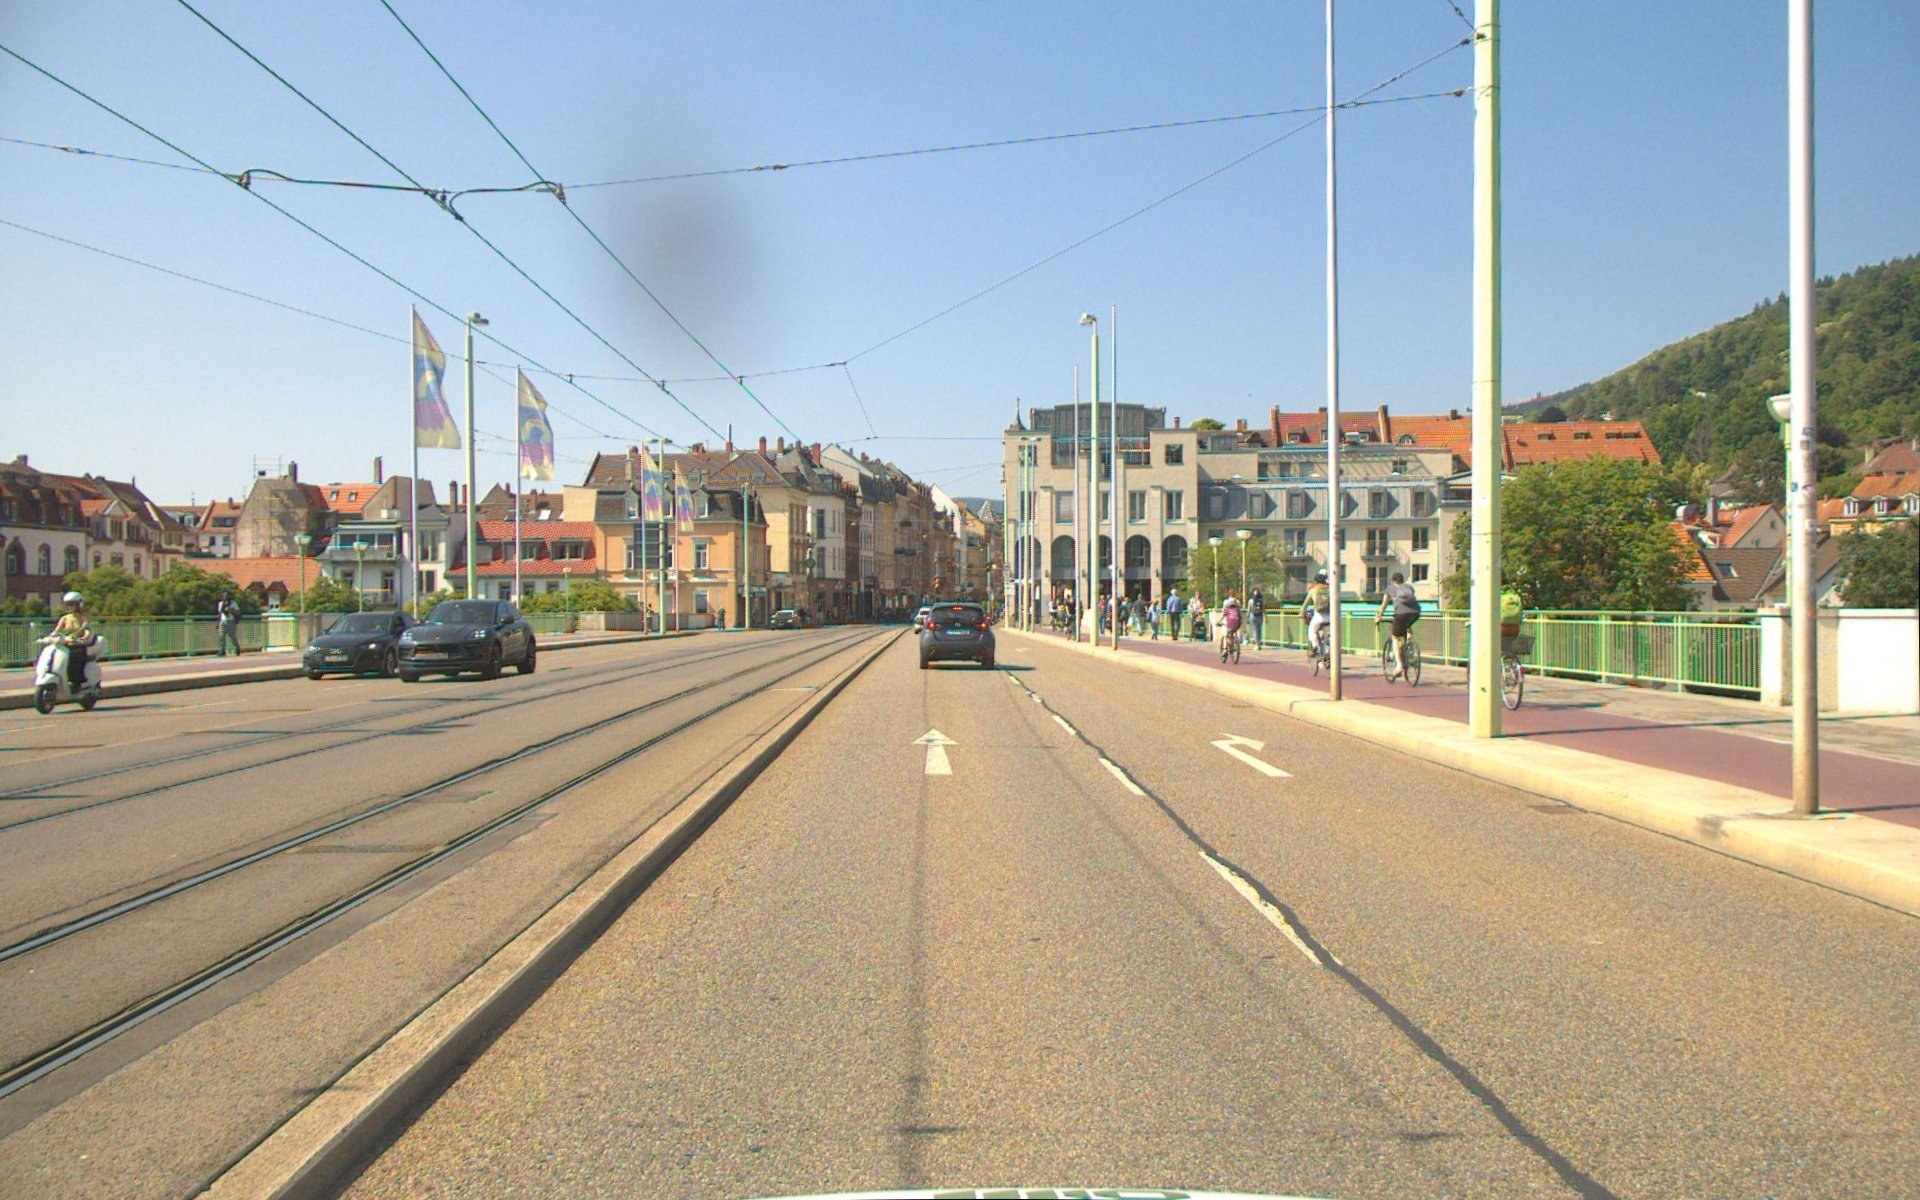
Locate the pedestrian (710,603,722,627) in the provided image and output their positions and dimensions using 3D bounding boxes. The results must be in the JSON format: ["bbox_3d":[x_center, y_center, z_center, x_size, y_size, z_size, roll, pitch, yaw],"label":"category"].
[{"bbox_3d":[-17.781,1.081,120.366,0.747,1.694,0.663,0,0,1],"label":"pedestrian"}]

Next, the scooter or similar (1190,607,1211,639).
[{"bbox_3d":[8.297,0.801,57.104,0.577,1.088,0.865,0,0,-3],"label":"scooter or similar"}]

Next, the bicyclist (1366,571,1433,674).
[{"bbox_3d":[6.679,0.328,25.163,0.720,1.527,0.980,0,0,-3],"label":"bicyclist"}]

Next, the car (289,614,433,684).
[{"bbox_3d":[-13.186,1.035,36.676,1.723,1.386,4.382,0,0,-2],"label":"car"}]

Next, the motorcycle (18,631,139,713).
[{"bbox_3d":[-13.178,1.051,24.801,0.687,1.129,2.178,0,0,-2],"label":"motorcycle"}]

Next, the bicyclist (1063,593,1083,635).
[{"bbox_3d":[4.435,0.552,64.989,0.640,1.594,1.337,-2,-1,0],"label":"bicyclist"}]

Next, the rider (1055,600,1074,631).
[{"bbox_3d":[5.241,0.768,82.699,0.871,1.531,0.840,0,0,-3],"label":"rider"}]

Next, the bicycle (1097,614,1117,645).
[{"bbox_3d":[5.843,1.165,65.839,0.515,1.199,2.028,0,0,-2],"label":"bicycle"}]

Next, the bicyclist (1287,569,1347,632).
[{"bbox_3d":[6.080,0.000,28.187,0.720,1.048,1.175,0,0,-3],"label":"bicyclist"}]

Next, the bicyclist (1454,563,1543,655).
[{"bbox_3d":[6.468,0.100,19.904,0.653,1.063,0.979,-2,0,-5],"label":"bicyclist"}]

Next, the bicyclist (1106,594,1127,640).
[{"bbox_3d":[5.772,0.617,61.099,0.643,1.705,0.868,0,0,-3],"label":"bicyclist"}]

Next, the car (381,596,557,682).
[{"bbox_3d":[-10.013,0.749,34.103,1.951,1.627,4.341,0,0,6],"label":"car"}]

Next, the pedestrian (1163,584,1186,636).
[{"bbox_3d":[7.773,0.359,60.036,0.698,1.842,0.848,0,0,-1],"label":"pedestrian"}]

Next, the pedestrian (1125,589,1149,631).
[{"bbox_3d":[7.624,0.431,71.172,0.911,1.792,0.937,0,0,-1],"label":"pedestrian"}]

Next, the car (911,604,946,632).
[{"bbox_3d":[-1.839,1.004,95.540,1.768,1.494,3.997,-2,0,-4],"label":"car"}]

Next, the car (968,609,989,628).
[{"bbox_3d":[1.622,1.594,142.284,1.766,1.494,4.001,-2,0,1],"label":"car"}]

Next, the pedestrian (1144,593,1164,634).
[{"bbox_3d":[7.175,0.502,61.107,0.601,1.491,0.848,0,0,-1],"label":"pedestrian"}]

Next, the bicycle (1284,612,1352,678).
[{"bbox_3d":[6.087,0.741,28.219,0.606,1.056,2.050,0,0,-3],"label":"bicycle"}]

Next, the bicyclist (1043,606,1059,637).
[{"bbox_3d":[5.017,1.170,91.183,0.779,1.705,0.869,1,-1,2],"label":"bicyclist"}]

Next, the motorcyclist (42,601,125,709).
[{"bbox_3d":[-13.199,0.813,24.923,0.811,1.601,0.831,0,0,-2],"label":"motorcyclist"}]

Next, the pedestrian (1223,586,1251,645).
[{"bbox_3d":[7.647,0.425,45.658,0.587,1.614,0.866,0,0,-3],"label":"pedestrian"}]

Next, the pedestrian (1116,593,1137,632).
[{"bbox_3d":[7.333,0.532,72.812,0.817,1.719,0.869,0,0,-1],"label":"pedestrian"}]

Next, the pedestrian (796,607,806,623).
[{"bbox_3d":[-13.917,1.287,144.686,0.747,1.422,0.663,0,0,1],"label":"pedestrian"}]

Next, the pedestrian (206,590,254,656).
[{"bbox_3d":[-19.687,0.616,44.631,0.813,1.752,1.094,0,0,-1],"label":"pedestrian"}]

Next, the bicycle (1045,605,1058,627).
[{"bbox_3d":[5.050,0.882,91.213,0.652,1.199,2.029,0,0,2],"label":"bicycle"}]

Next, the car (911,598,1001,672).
[{"bbox_3d":[-0.152,0.769,38.708,1.872,1.567,3.998,0,1,-4],"label":"car"}]

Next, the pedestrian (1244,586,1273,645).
[{"bbox_3d":[8.243,0.417,45.696,0.587,1.614,0.866,0,0,-3],"label":"pedestrian"}]

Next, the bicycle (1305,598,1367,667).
[{"bbox_3d":[7.279,0.610,32.117,0.606,1.293,2.215,0,0,-3],"label":"bicycle"}]

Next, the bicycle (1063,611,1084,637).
[{"bbox_3d":[4.444,0.939,64.920,0.640,0.998,2.178,-2,-1,0],"label":"bicycle"}]

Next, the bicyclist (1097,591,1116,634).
[{"bbox_3d":[5.832,0.496,65.779,0.615,1.719,0.868,0,0,-3],"label":"bicyclist"}]

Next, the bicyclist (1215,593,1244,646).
[{"bbox_3d":[5.821,0.420,35.736,0.586,1.121,0.853,0,0,9],"label":"bicyclist"}]

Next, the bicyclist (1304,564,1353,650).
[{"bbox_3d":[7.167,0.132,32.196,0.720,1.664,0.866,0,0,-3],"label":"bicyclist"}]

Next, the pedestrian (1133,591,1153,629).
[{"bbox_3d":[8.502,0.451,76.738,0.817,1.719,0.869,0,0,-1],"label":"pedestrian"}]

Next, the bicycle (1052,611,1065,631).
[{"bbox_3d":[5.210,1.104,87.488,0.652,1.068,2.029,0,0,2],"label":"bicycle"}]

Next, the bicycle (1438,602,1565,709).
[{"bbox_3d":[6.483,0.638,19.920,0.681,1.214,2.077,-1,0,-5],"label":"bicycle"}]

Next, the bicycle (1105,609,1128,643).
[{"bbox_3d":[5.777,0.950,61.285,0.581,1.199,1.939,0,0,-2],"label":"bicycle"}]

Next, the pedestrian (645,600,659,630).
[{"bbox_3d":[-19.347,0.944,104.027,0.747,1.818,0.663,0,0,1],"label":"pedestrian"}]

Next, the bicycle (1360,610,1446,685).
[{"bbox_3d":[6.739,0.698,25.264,0.606,1.056,2.265,0,0,-3],"label":"bicycle"}]

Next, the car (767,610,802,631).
[{"bbox_3d":[-13.091,1.530,123.469,1.952,1.505,4.002,0,0,3],"label":"car"}]

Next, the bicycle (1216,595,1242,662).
[{"bbox_3d":[5.800,0.591,35.700,0.523,1.391,2.218,0,0,8],"label":"bicycle"}]

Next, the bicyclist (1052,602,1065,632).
[{"bbox_3d":[5.210,0.905,87.343,0.638,1.556,0.975,0,0,2],"label":"bicyclist"}]

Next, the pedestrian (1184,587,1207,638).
[{"bbox_3d":[8.251,0.438,57.975,0.629,1.787,0.866,0,0,-3],"label":"pedestrian"}]
